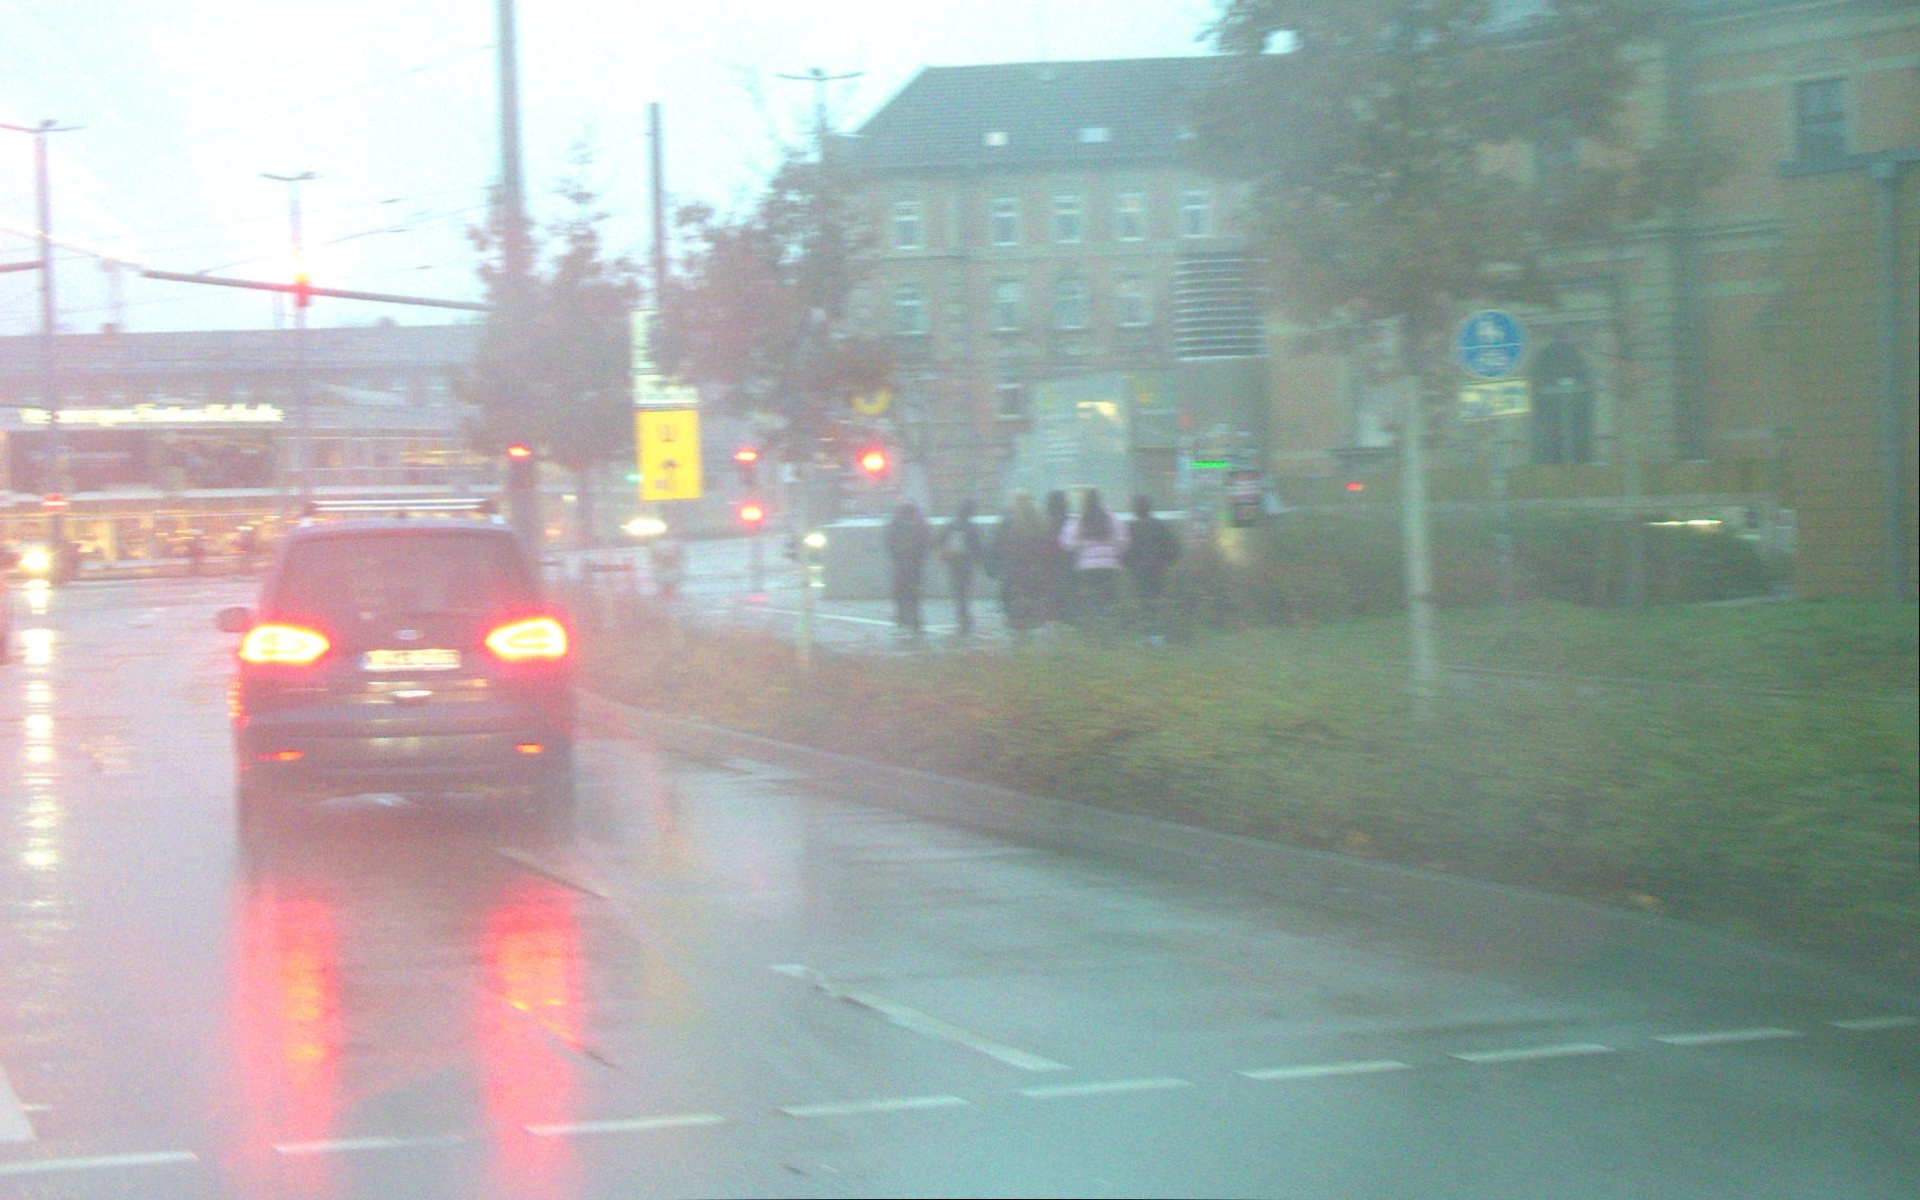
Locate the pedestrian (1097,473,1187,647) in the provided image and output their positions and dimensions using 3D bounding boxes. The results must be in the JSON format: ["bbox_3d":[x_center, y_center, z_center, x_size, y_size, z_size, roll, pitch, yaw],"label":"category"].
[{"bbox_3d":[1.802,-0.401,33.971,0.718,1.682,0.760,-2,1,13],"label":"pedestrian"}]

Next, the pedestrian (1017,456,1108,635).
[{"bbox_3d":[1.005,-0.540,33.623,0.668,1.681,0.611,-3,3,14],"label":"pedestrian"}]

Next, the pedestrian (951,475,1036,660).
[{"bbox_3d":[0.335,-0.325,33.860,0.584,1.775,0.768,-3,1,14],"label":"pedestrian"}]

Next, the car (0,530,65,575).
[{"bbox_3d":[-31.716,-1.613,116.493,1.813,1.441,4.001,-2,1,-2],"label":"car"}]

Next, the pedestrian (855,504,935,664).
[{"bbox_3d":[-0.799,-0.207,42.587,0.808,1.923,0.760,0,4,13],"label":"pedestrian"}]

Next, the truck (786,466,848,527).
[{"bbox_3d":[-6.577,-4.779,158.643,1.994,2.682,5.114,-2,1,6],"label":"truck"}]

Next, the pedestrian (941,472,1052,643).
[{"bbox_3d":[0.390,-0.456,36.837,0.851,1.785,0.749,-3,1,-35],"label":"pedestrian"}]

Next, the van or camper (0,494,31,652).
[{"bbox_3d":[-14.176,-0.383,47.344,2.201,2.102,4.989,-1,1,-10],"label":"van or camper"}]

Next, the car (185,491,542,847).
[{"bbox_3d":[-3.414,0.285,19.865,1.777,1.794,4.426,-1,2,-9],"label":"car"}]

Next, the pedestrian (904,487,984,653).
[{"bbox_3d":[-0.193,-0.378,42.655,0.808,2.006,0.760,0,4,13],"label":"pedestrian"}]
